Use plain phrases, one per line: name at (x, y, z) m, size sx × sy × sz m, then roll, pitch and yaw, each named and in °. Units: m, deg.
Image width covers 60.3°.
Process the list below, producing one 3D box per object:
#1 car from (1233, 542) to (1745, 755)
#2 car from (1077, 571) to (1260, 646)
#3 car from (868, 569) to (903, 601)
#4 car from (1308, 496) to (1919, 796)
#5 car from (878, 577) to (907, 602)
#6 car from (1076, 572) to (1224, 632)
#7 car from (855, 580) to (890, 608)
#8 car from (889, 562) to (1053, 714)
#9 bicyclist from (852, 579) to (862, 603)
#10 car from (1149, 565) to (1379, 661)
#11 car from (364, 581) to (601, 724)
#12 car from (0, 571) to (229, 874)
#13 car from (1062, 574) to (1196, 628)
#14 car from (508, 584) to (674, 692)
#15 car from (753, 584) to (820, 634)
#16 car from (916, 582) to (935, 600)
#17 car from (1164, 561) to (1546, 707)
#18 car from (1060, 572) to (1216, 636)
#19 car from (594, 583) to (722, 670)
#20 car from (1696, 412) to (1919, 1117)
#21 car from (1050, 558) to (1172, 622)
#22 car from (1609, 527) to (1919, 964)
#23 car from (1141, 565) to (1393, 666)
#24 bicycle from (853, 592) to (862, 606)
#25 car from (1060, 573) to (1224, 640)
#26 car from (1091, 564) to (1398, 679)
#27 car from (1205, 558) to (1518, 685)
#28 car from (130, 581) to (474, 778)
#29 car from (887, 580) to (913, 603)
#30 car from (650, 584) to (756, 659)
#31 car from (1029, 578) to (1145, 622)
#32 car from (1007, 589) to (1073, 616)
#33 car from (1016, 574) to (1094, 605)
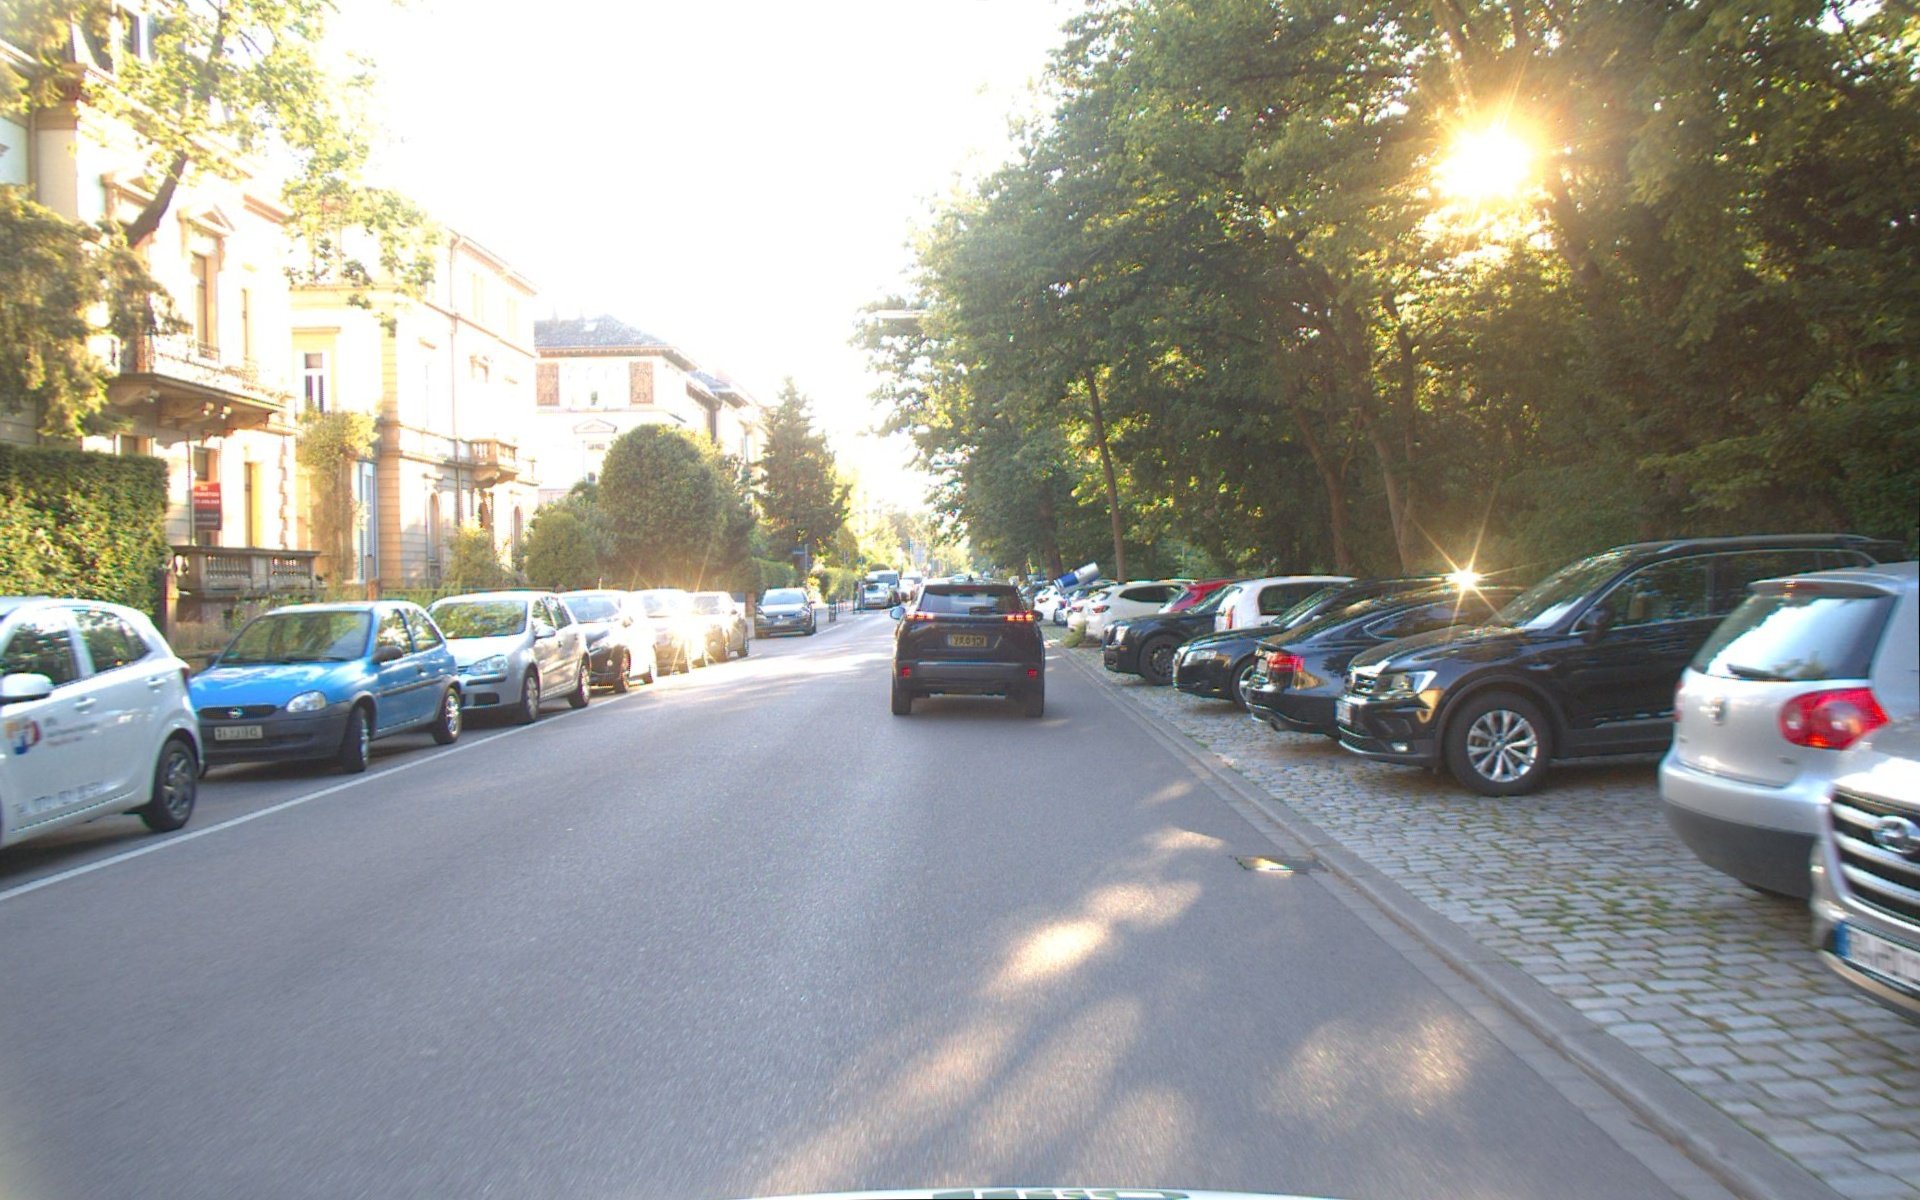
car at (4.525, 0.400, 14.568) m, size 3.905 × 1.581 × 1.725 m, roll -3°, pitch 0°, yaw 0°
car at (4.610, 0.182, 36.921) m, size 3.733 × 1.474 × 1.825 m, roll -2°, pitch 0°, yaw -4°
car at (-4.835, -0.973, 107.875) m, size 1.952 × 2.049 × 4.001 m, roll 0°, pitch 0°, yaw 1°
car at (4.813, 0.293, 11.913) m, size 4.158 × 1.820 × 1.884 m, roll -3°, pitch 0°, yaw 0°
car at (-4.859, -0.750, 119.747) m, size 1.953 × 1.799 × 4.000 m, roll 0°, pitch 0°, yaw 0°
car at (5.377, 0.047, 47.016) m, size 3.909 × 1.653 × 1.756 m, roll 0°, pitch 0°, yaw -5°
car at (-5.109, -0.345, 97.225) m, size 1.861 × 1.601 × 4.000 m, roll 0°, pitch 0°, yaw 0°
car at (0.052, 0.394, 19.997) m, size 1.736 × 1.595 × 4.107 m, roll 2°, pitch 0°, yaw -2°
bicyclist at (-7.900, -0.678, 126.894) m, size 0.679 × 1.823 × 0.772 m, roll 0°, pitch 0°, yaw -3°
car at (5.458, 0.222, 29.981) m, size 3.733 × 1.536 × 1.825 m, roll -2°, pitch 0°, yaw -4°
car at (-5.530, 0.554, 19.650) m, size 1.580 × 1.492 × 4.036 m, roll -1°, pitch 0°, yaw 1°
car at (-5.711, 0.657, 9.282) m, size 1.581 × 1.541 × 3.711 m, roll -3°, pitch 0°, yaw -1°
car at (5.232, 0.028, 51.576) m, size 3.909 × 1.653 × 1.756 m, roll 0°, pitch 0°, yaw -5°
car at (-5.570, 0.528, 25.424) m, size 1.580 × 1.492 × 4.036 m, roll -1°, pitch 0°, yaw 1°
car at (-5.420, 0.256, 51.934) m, size 1.717 × 1.438 × 3.763 m, roll -3°, pitch 1°, yaw -1°
car at (-3.714, -0.984, 177.169) m, size 1.953 × 1.847 × 4.000 m, roll 0°, pitch 0°, yaw 0°
car at (4.503, 0.378, 19.328) m, size 4.070 × 1.474 × 1.731 m, roll -2°, pitch 0°, yaw 3°
car at (4.748, 0.100, 44.466) m, size 3.909 × 1.653 × 1.756 m, roll 0°, pitch 0°, yaw -5°
car at (-5.559, 0.464, 30.917) m, size 1.580 × 1.492 × 4.036 m, roll -1°, pitch 0°, yaw 1°
car at (4.589, 0.356, 4.499) m, size 4.219 × 1.836 × 2.035 m, roll -2°, pitch 0°, yaw -1°
car at (5.133, -0.337, 56.493) m, size 3.909 × 2.126 × 1.756 m, roll 0°, pitch 0°, yaw -5°
car at (5.007, 0.490, 6.896) m, size 3.905 × 1.581 × 1.725 m, roll -1°, pitch 0°, yaw 0°
car at (5.037, 0.240, 27.472) m, size 3.733 × 1.474 × 1.876 m, roll -2°, pitch 0°, yaw -4°
bicycle at (-7.881, -0.067, 126.868) m, size 0.678 × 1.033 × 2.048 m, roll 0°, pitch 0°, yaw -3°
car at (4.611, 0.150, 42.194) m, size 3.909 × 1.653 × 1.756 m, roll 0°, pitch 0°, yaw -5°
car at (4.155, 0.307, 24.673) m, size 4.157 × 1.474 × 2.021 m, roll -2°, pitch 0°, yaw -2°
car at (5.244, 0.276, 21.991) m, size 3.728 × 1.474 × 1.827 m, roll -2°, pitch 0°, yaw 3°
car at (-5.725, 0.624, 14.875) m, size 1.581 × 1.511 × 3.741 m, roll -1°, pitch 0°, yaw 0°
car at (-4.923, -0.663, 135.527) m, size 1.953 × 1.847 × 4.000 m, roll 0°, pitch 0°, yaw 0°
car at (-5.474, 0.431, 35.619) m, size 1.580 × 1.492 × 4.036 m, roll -1°, pitch 0°, yaw 1°
car at (4.534, -0.004, 59.356) m, size 3.909 × 1.552 × 1.756 m, roll 0°, pitch 0°, yaw -5°
car at (4.723, 0.168, 98.225) m, size 3.904 × 1.552 × 1.758 m, roll 0°, pitch 0°, yaw 1°
car at (4.832, -0.525, 84.402) m, size 3.904 × 1.552 × 1.758 m, roll 0°, pitch 0°, yaw 1°
